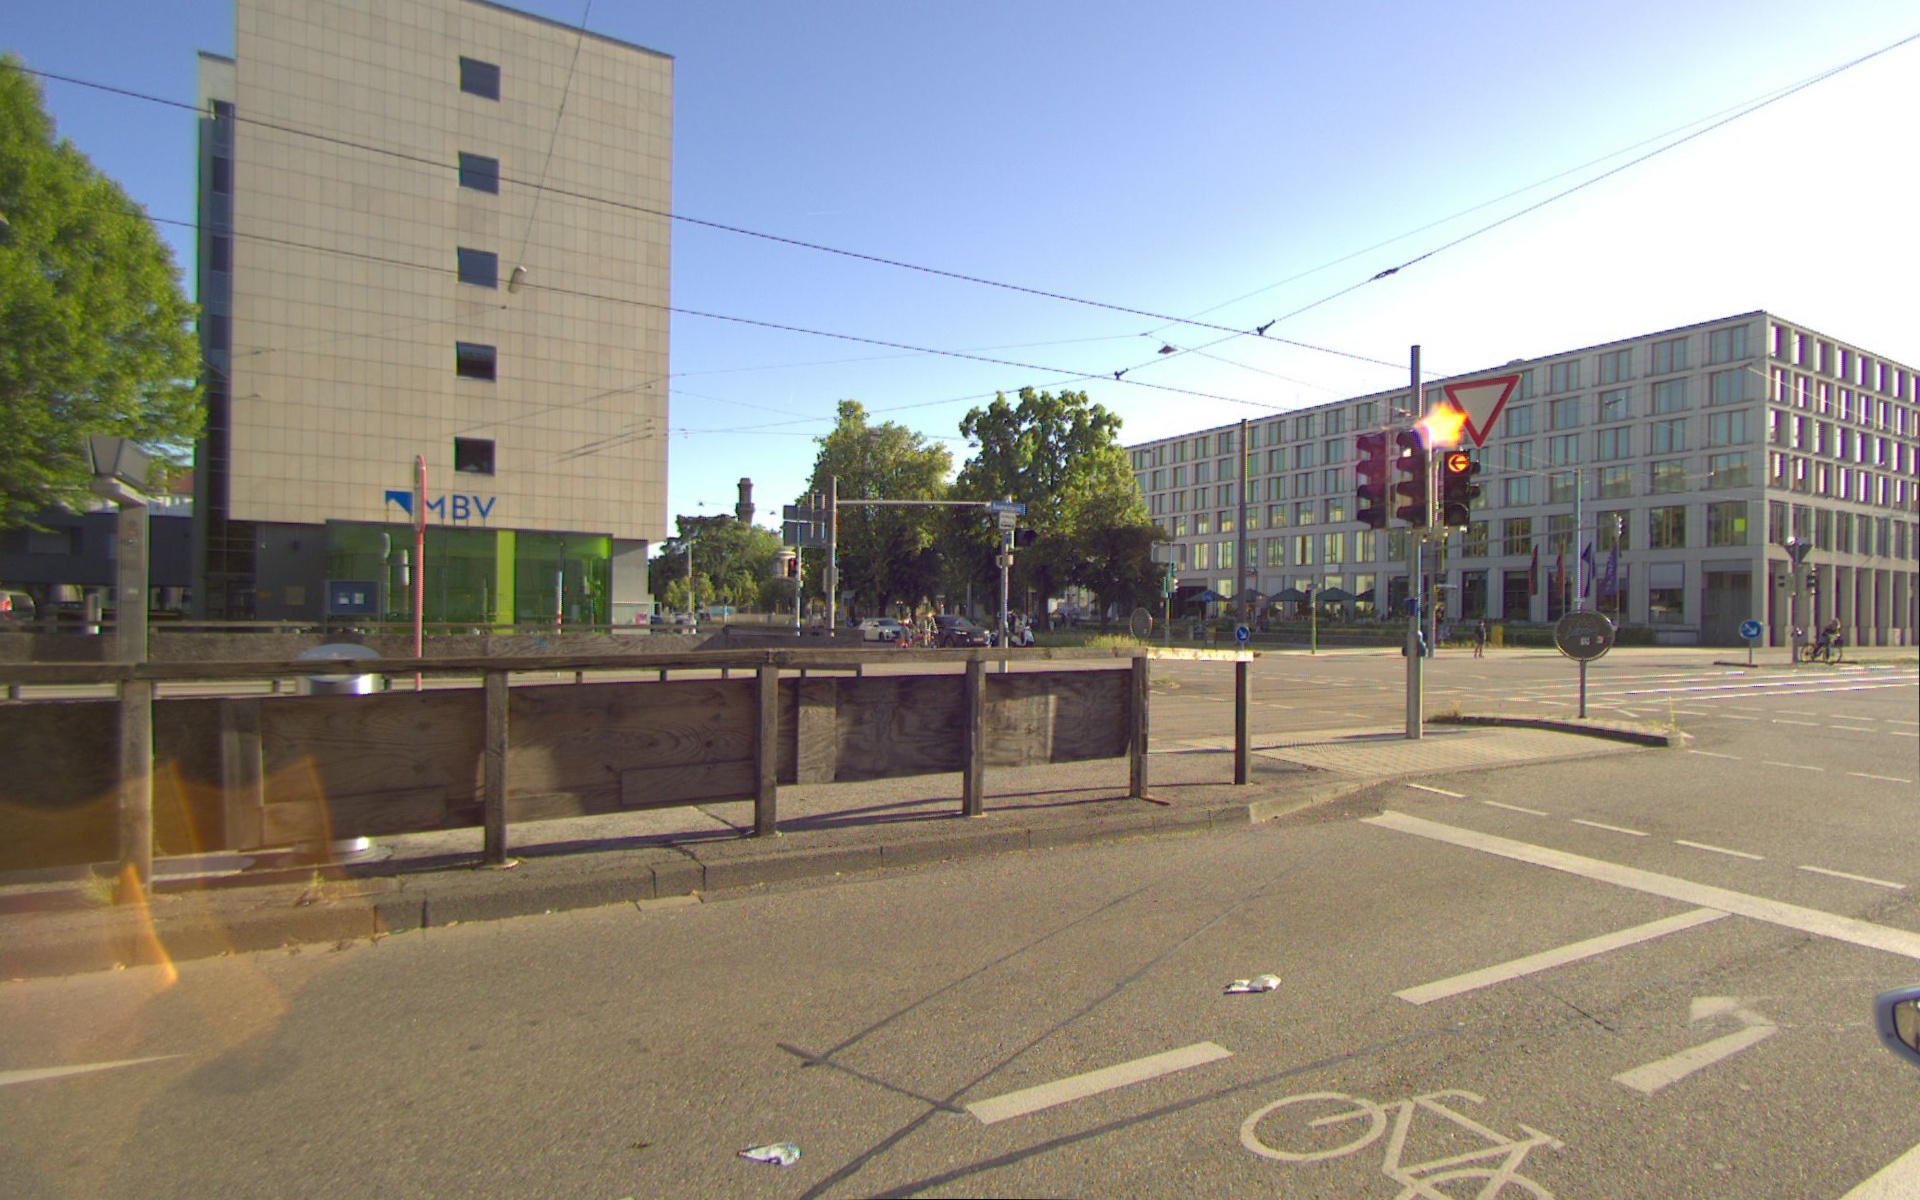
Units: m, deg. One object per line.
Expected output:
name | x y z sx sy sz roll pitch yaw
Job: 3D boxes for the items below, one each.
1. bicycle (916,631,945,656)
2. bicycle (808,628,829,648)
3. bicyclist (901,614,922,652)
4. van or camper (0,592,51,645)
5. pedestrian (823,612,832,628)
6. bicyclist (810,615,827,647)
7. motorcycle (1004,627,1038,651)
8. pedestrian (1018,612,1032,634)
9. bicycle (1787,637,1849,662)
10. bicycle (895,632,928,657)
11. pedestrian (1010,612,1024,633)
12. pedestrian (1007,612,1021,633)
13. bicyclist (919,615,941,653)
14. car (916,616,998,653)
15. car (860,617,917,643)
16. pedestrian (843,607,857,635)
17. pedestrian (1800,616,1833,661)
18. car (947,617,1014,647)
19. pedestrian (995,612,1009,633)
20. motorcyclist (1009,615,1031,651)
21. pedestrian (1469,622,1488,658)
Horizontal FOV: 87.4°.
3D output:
bicycle | -1.265 1.826 42.384 0.576 1.032 1.666 1 -1 -27
bicycle | -7.436 2.008 52.856 0.576 1.032 1.666 1 -1 -27
bicyclist | -2.032 1.367 42.019 0.577 1.563 0.833 1 -2 -32
van or camper | -27.888 0.430 27.570 3.954 1.425 1.954 4 -3 -30
pedestrian | -15.521 2.338 117.442 0.615 1.829 0.769 2 0 39
bicyclist | -7.454 1.645 52.891 0.576 1.658 0.890 1 -1 -27
motorcycle | 2.849 1.819 46.958 0.624 1.030 1.972 -3 1 -28
pedestrian | 5.296 1.888 82.038 0.858 1.738 0.737 2 0 -26
bicycle | 31.012 1.786 36.323 0.564 0.834 1.713 1 -1 -14
bicycle | -2.037 1.845 42.023 0.577 1.032 1.806 1 -3 -31
pedestrian | 4.758 1.883 84.311 0.858 1.738 0.737 2 0 -26
pedestrian | 4.439 1.866 82.849 0.858 1.738 0.737 2 0 -26
bicyclist | -1.272 1.424 42.419 0.576 1.563 0.890 1 -1 -27
car | -0.178 1.519 44.553 1.925 1.561 3.969 2 -2 -29
car | -4.349 1.798 60.524 1.975 1.537 3.971 1 -1 -28
pedestrian | -8.151 1.553 74.140 0.772 2.040 0.747 1 -1 -31
pedestrian | 31.002 1.388 36.359 0.564 1.616 0.742 1 -1 -14
car | 1.021 1.655 52.210 1.674 1.506 3.719 1 -1 -33
pedestrian | 3.413 1.833 82.362 0.858 1.738 0.737 2 0 -26
motorcyclist | 2.808 1.537 46.989 0.624 1.601 0.812 -3 1 -28
pedestrian | 25.136 1.925 48.715 0.597 1.703 0.602 1 -1 -22
